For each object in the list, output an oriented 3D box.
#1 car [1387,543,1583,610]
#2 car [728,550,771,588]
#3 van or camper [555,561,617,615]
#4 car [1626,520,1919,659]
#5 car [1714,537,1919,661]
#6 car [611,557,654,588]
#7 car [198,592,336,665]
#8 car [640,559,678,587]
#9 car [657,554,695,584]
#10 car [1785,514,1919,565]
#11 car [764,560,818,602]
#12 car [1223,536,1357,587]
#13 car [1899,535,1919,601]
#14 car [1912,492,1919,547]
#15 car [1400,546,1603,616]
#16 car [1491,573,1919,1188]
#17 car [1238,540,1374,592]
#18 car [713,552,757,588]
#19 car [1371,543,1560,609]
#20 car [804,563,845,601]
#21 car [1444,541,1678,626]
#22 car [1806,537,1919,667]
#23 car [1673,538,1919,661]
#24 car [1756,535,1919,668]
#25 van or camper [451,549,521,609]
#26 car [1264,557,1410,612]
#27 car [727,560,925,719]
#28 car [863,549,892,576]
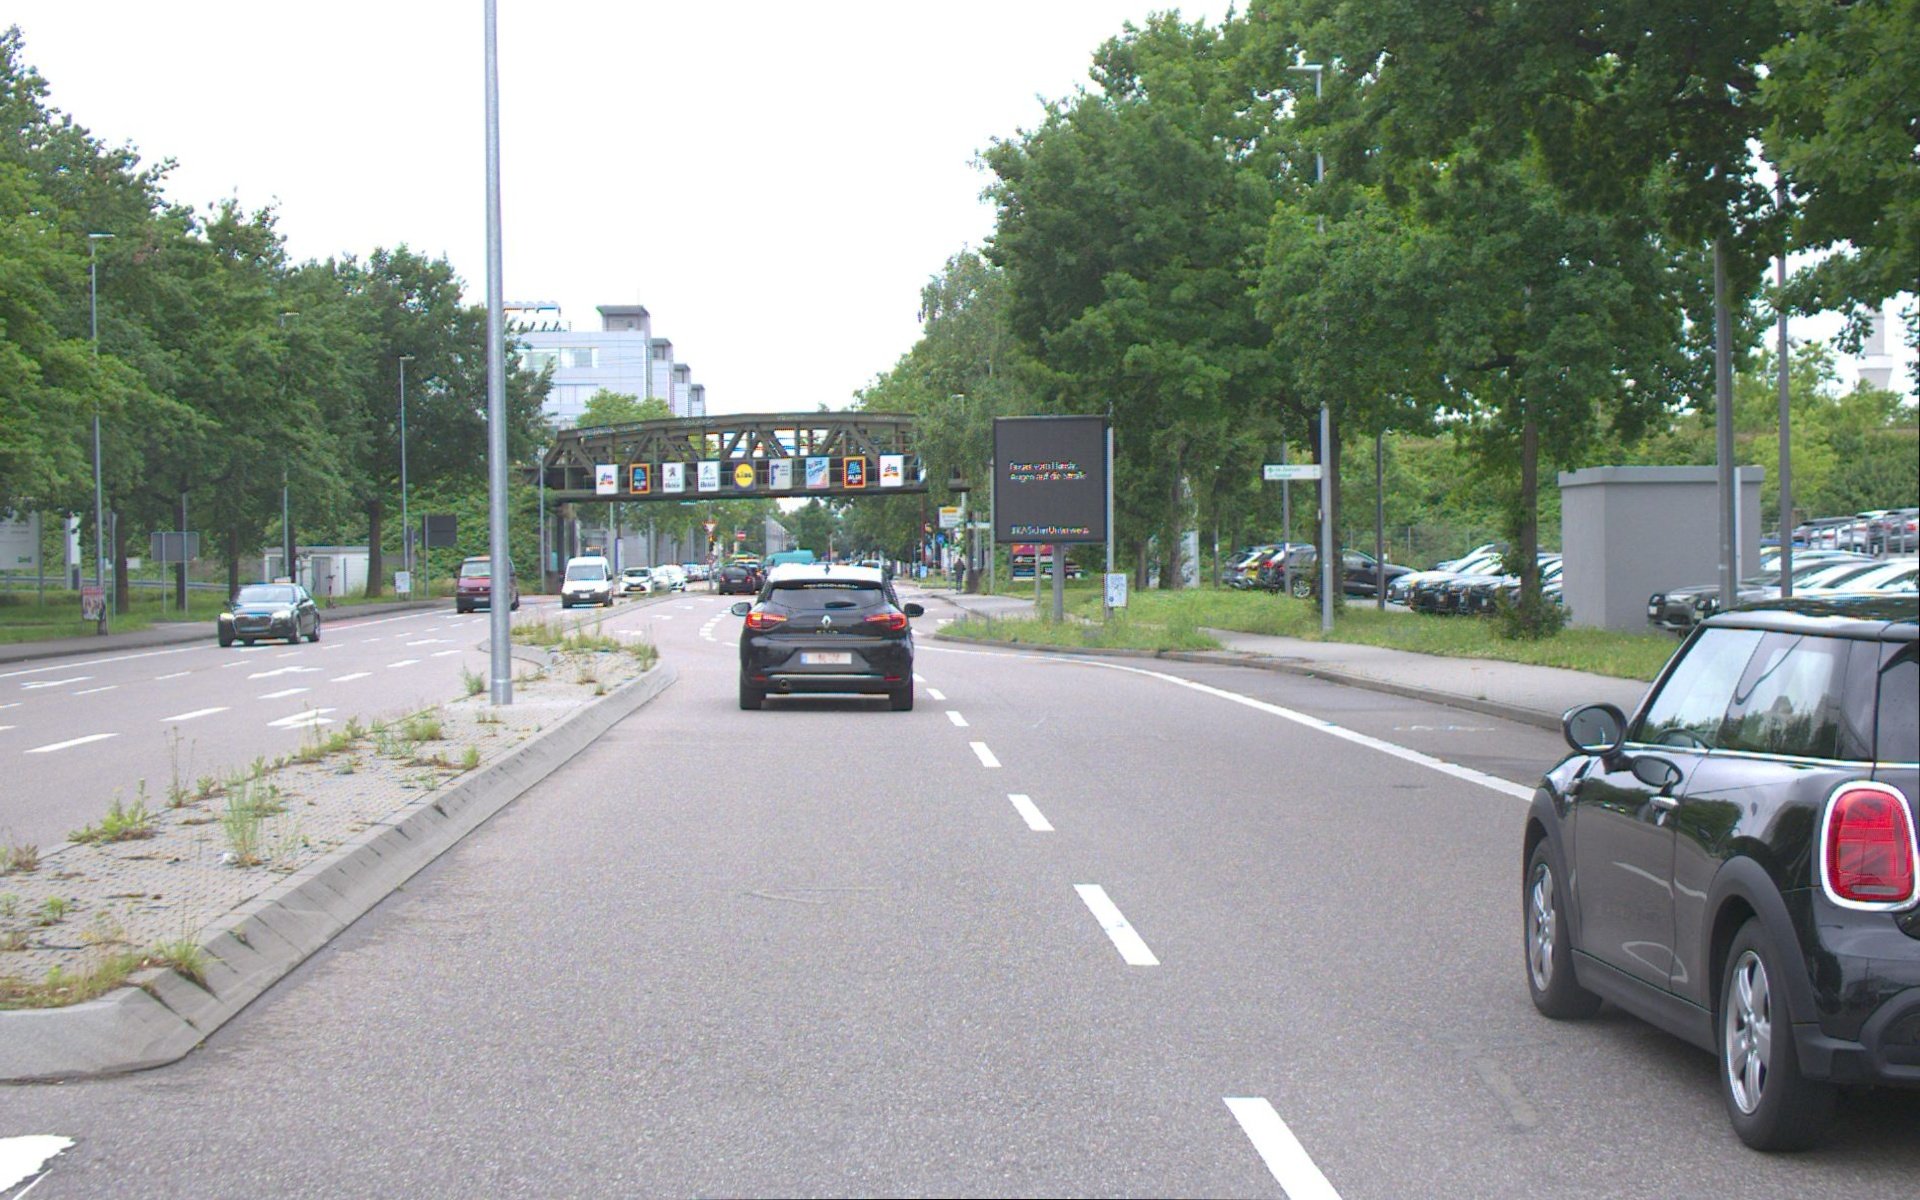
[{"bbox_3d":[11.870,-0.542,77.884,4.085,1.431,1.847,0,2,-3],"label":"car"},{"bbox_3d":[-10.989,-1.632,179.902,1.950,1.809,4.001,1,3,0],"label":"car"},{"bbox_3d":[-13.200,-0.445,121.577,1.755,1.741,4.407,-4,1,-2],"label":"van or camper"},{"bbox_3d":[12.845,-0.159,53.171,4.550,1.696,2.000,5,2,0],"label":"car"},{"bbox_3d":[12.989,0.048,48.163,4.294,1.499,2.029,5,1,0],"label":"car"},{"bbox_3d":[-16.265,-1.373,170.929,1.754,1.441,3.339,1,3,1],"label":"car"},{"bbox_3d":[-15.721,0.622,78.184,1.918,1.497,4.251,-3,0,5],"label":"car"},{"bbox_3d":[-16.394,-1.465,187.458,1.719,1.366,3.440,1,3,1],"label":"car"},{"bbox_3d":[-17.273,-1.865,208.926,1.940,1.670,3.782,1,3,1],"label":"car"},{"bbox_3d":[26.921,-1.815,102.674,4.085,1.431,1.730,0,2,-3],"label":"car"},{"bbox_3d":[-7.353,-0.857,149.705,2.135,1.656,3.782,1,3,1],"label":"car"},{"bbox_3d":[9.998,-1.172,104.407,3.987,1.431,1.730,1,2,5],"label":"car"},{"bbox_3d":[23.134,-0.692,76.245,4.085,1.431,1.730,0,2,-3],"label":"car"},{"bbox_3d":[27.427,-2.084,90.463,4.198,1.431,1.730,0,2,-3],"label":"car"},{"bbox_3d":[11.859,-0.426,75.478,4.085,1.431,1.822,0,2,-3],"label":"car"},{"bbox_3d":[2.790,0.673,9.923,1.786,1.411,3.644,2,1,-2],"label":"car"},{"bbox_3d":[10.252,-1.028,102.059,3.987,1.431,1.730,1,2,5],"label":"car"},{"bbox_3d":[-11.310,-1.526,172.953,1.884,1.656,3.782,1,3,1],"label":"car"},{"bbox_3d":[11.771,-0.563,80.201,4.085,1.431,1.730,0,2,-3],"label":"car"},{"bbox_3d":[-7.063,-0.959,179.516,1.950,1.809,4.001,1,3,0],"label":"car"},{"bbox_3d":[12.291,-0.345,70.501,4.343,1.498,1.930,3,1,-2],"label":"car"},{"bbox_3d":[12.977,0.158,42.977,4.176,1.464,2.000,5,2,0],"label":"car"},{"bbox_3d":[12.842,0.026,50.571,4.176,1.441,1.960,5,2,0],"label":"car"},{"bbox_3d":[13.058,0.128,45.589,4.393,1.515,2.000,5,2,-1],"label":"car"},{"bbox_3d":[-16.456,-0.753,119.592,1.875,1.979,4.890,-1,1,-2],"label":"van or camper"},{"bbox_3d":[10.507,-0.443,95.914,3.987,1.431,1.730,1,2,5],"label":"car"},{"bbox_3d":[-1.300,0.356,34.833,1.757,1.429,4.000,-1,2,1],"label":"car"},{"bbox_3d":[-5.979,-2.704,249.592,1.950,1.809,4.001,1,3,0],"label":"car"}]
